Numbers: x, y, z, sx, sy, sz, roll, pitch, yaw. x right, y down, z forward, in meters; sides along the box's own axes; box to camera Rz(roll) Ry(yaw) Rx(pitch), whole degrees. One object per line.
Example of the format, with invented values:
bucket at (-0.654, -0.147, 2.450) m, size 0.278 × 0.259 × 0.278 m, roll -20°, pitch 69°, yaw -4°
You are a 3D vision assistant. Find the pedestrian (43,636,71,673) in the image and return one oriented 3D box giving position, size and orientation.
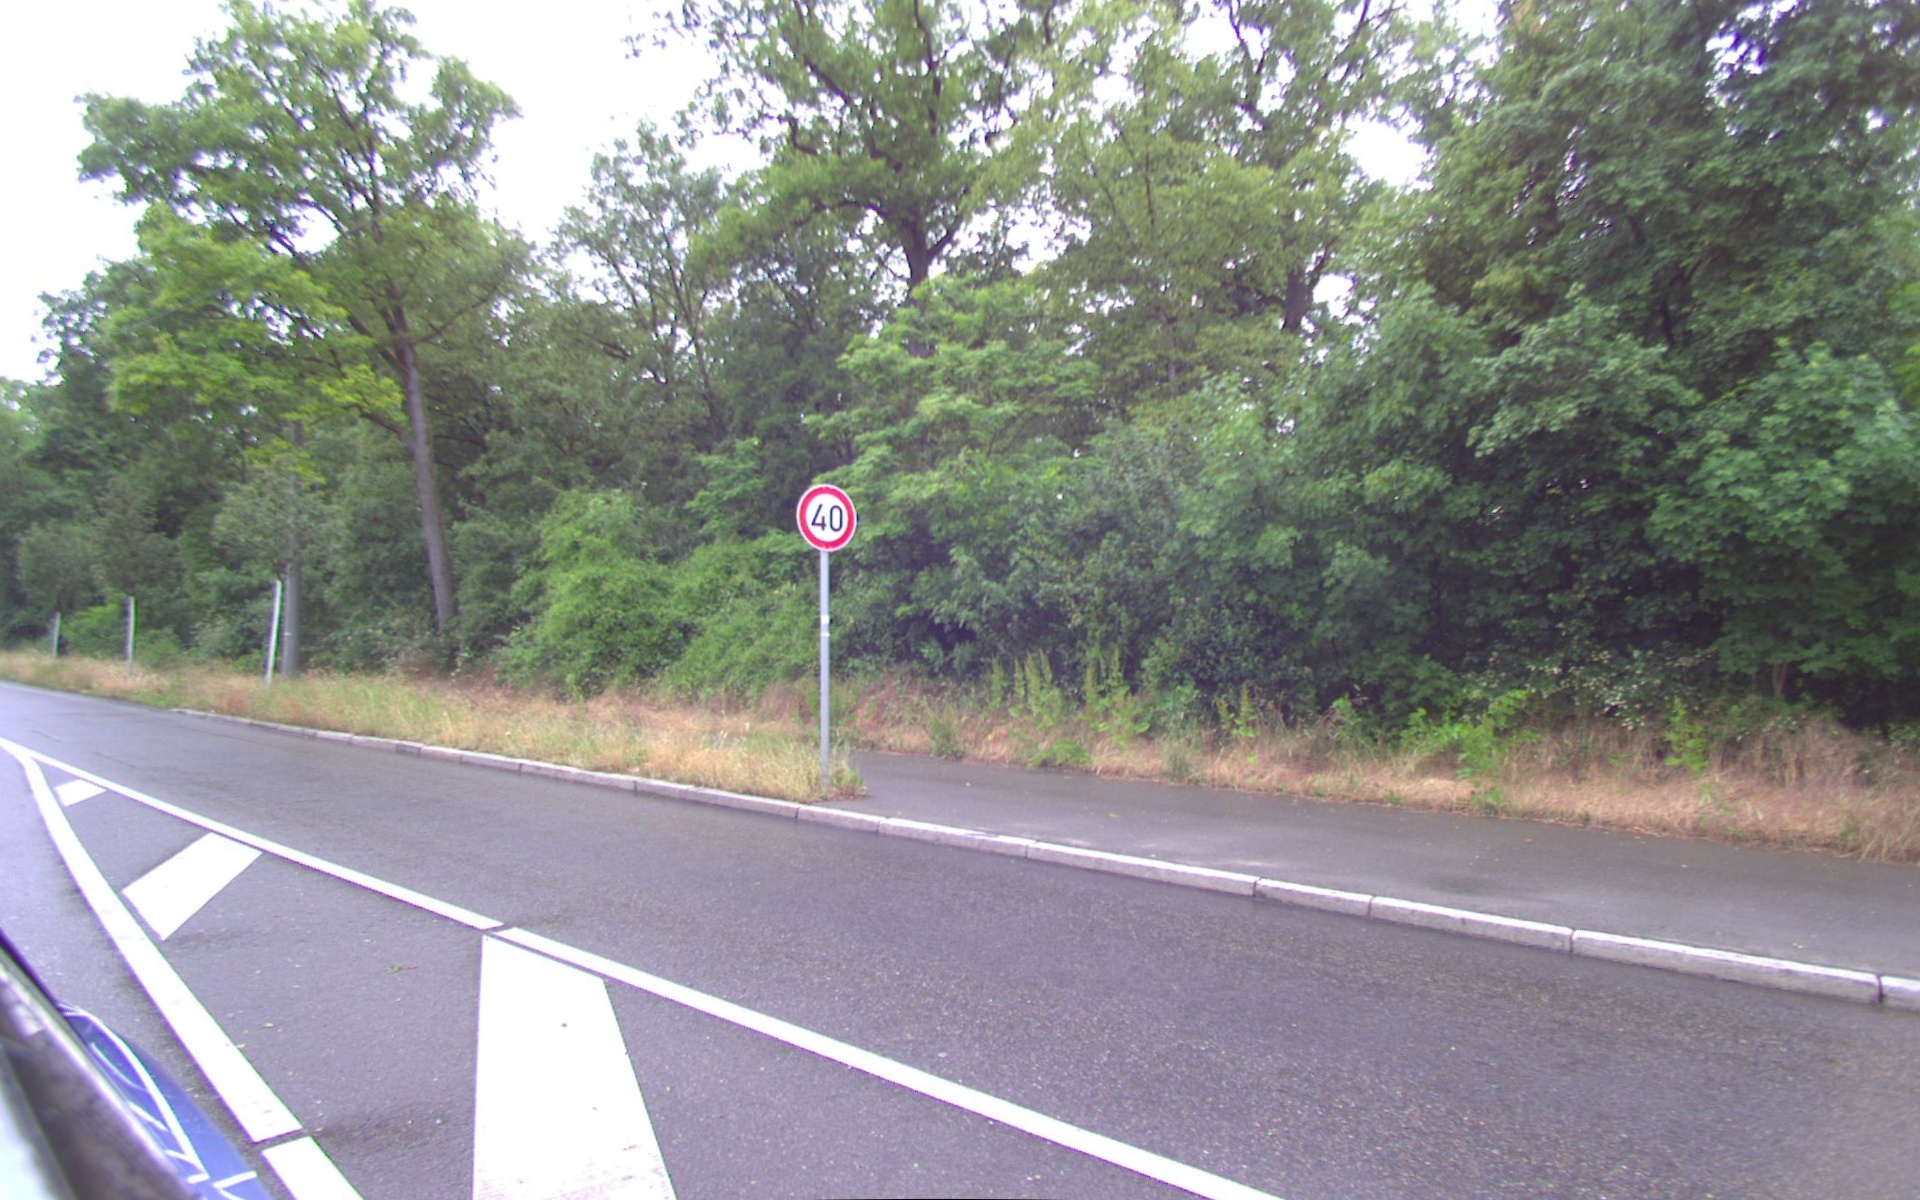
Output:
pedestrian at (-39.980, 2.397, 44.816) m, size 0.731 × 1.620 × 0.773 m, roll -2°, pitch -3°, yaw 38°
